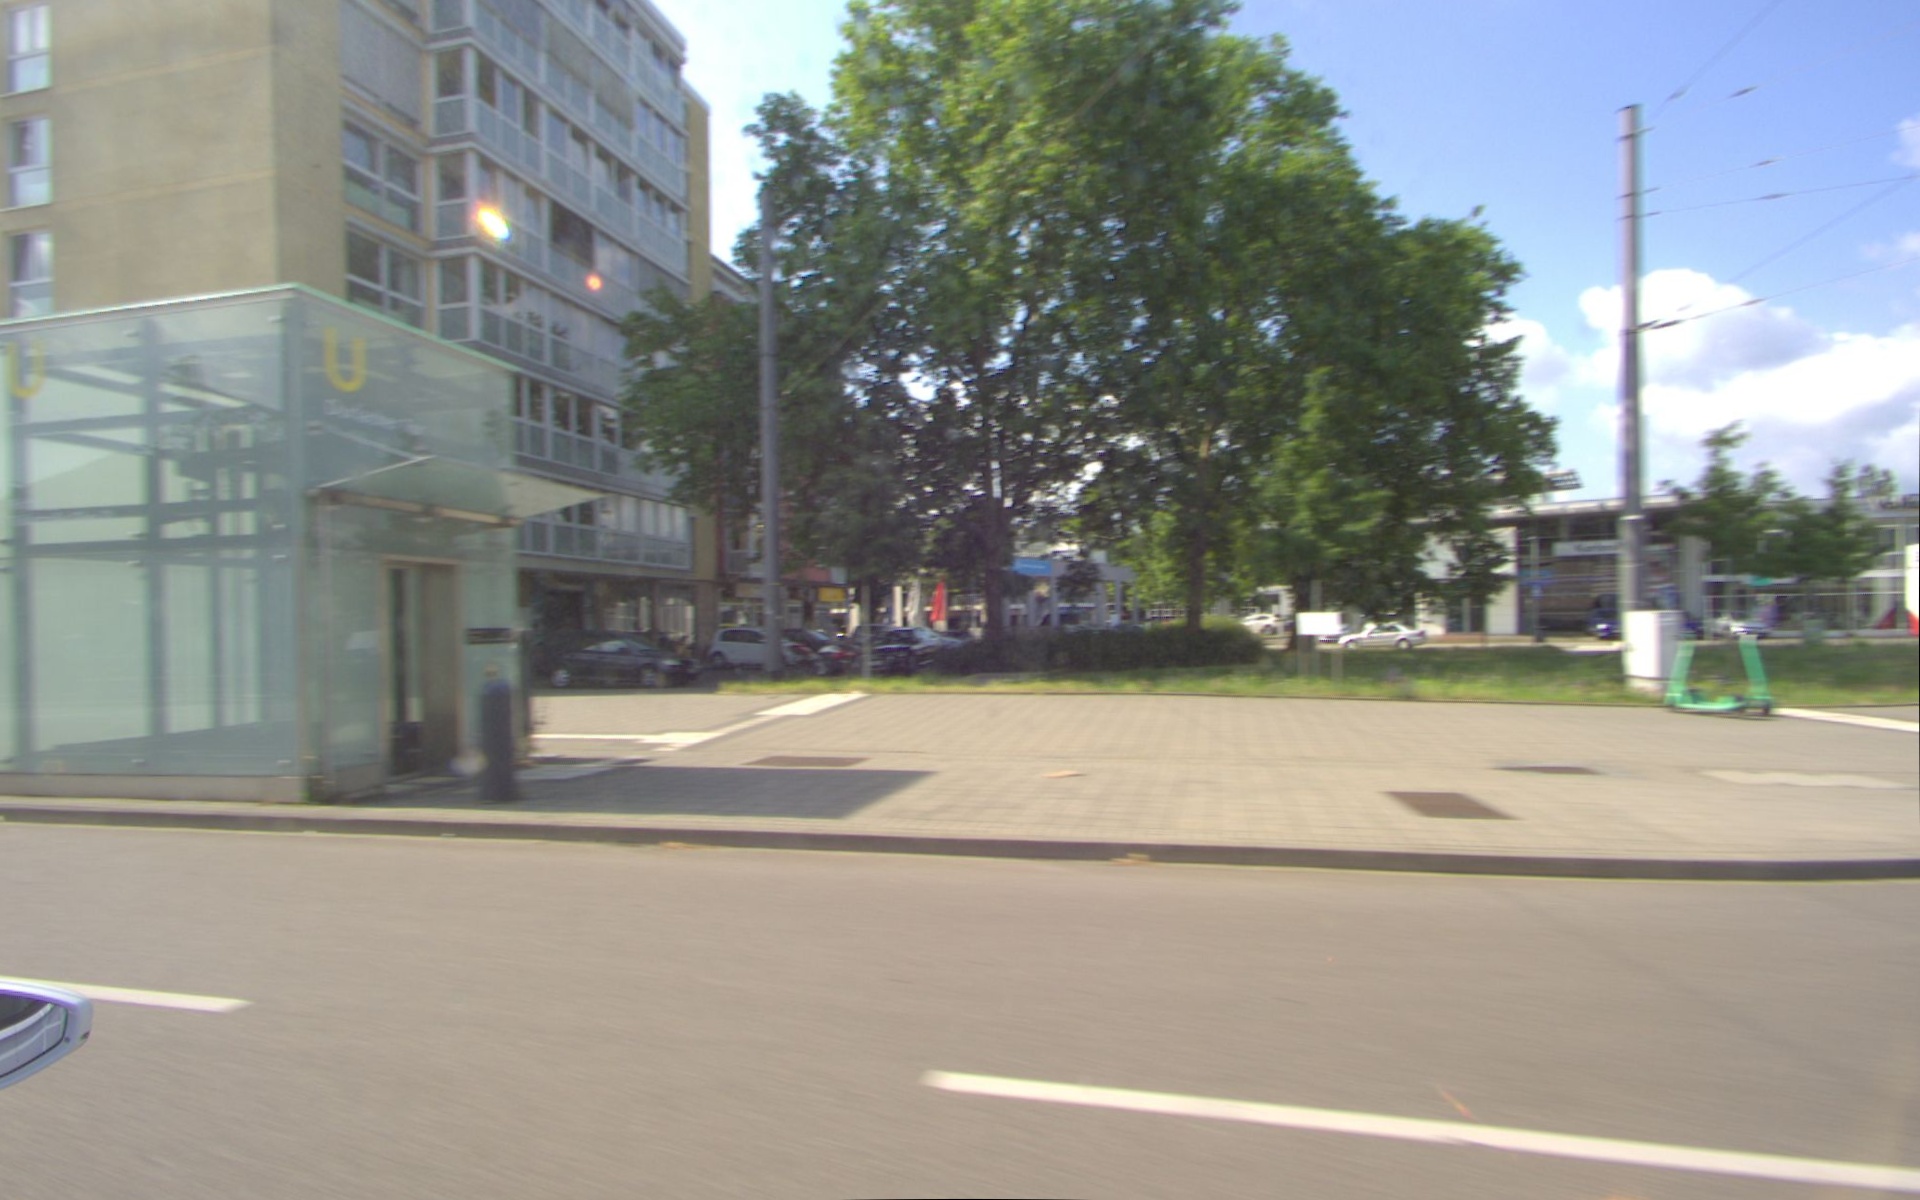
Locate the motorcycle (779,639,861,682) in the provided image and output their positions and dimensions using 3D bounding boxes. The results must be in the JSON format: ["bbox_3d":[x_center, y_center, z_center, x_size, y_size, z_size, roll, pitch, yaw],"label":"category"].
[{"bbox_3d":[-3.360,1.435,24.084,1.867,0.914,0.602,-2,0,-29],"label":"motorcycle"}]

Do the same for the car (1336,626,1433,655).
[{"bbox_3d":[22.979,2.189,54.229,4.491,1.371,1.988,-4,-2,35],"label":"car"}]

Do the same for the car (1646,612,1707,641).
[{"bbox_3d":[37.767,1.390,52.859,1.895,1.463,3.987,-1,-1,25],"label":"car"}]

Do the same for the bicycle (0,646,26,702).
[{"bbox_3d":[-22.452,1.678,23.178,1.616,1.218,0.486,1,2,19],"label":"bicycle"}]

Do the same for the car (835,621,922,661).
[{"bbox_3d":[-4.018,2.019,49.569,3.925,1.754,1.818,-3,-2,12],"label":"car"}]

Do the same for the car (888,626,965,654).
[{"bbox_3d":[-1.835,2.215,55.390,3.924,1.397,1.648,-3,-2,9],"label":"car"}]

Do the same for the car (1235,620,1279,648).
[{"bbox_3d":[19.571,2.191,65.784,2.042,1.625,3.984,-3,-1,27],"label":"car"}]

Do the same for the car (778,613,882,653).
[{"bbox_3d":[-5.498,1.393,42.428,3.926,1.482,1.870,-3,-2,12],"label":"car"}]

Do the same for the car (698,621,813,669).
[{"bbox_3d":[-7.375,1.619,36.224,3.509,1.549,1.999,-3,-2,14],"label":"car"}]

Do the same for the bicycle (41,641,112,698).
[{"bbox_3d":[-20.441,1.589,23.155,1.616,1.218,0.486,1,2,19],"label":"bicycle"}]

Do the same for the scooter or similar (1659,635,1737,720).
[{"bbox_3d":[10.660,1.106,14.471,0.912,1.173,0.381,0,2,-13],"label":"scooter or similar"}]

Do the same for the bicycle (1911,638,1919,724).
[{"bbox_3d":[13.669,1.108,12.847,1.954,1.143,0.789,2,1,12],"label":"bicycle"}]

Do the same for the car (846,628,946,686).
[{"bbox_3d":[-1.878,1.668,30.498,1.764,1.439,3.993,2,1,16],"label":"car"}]

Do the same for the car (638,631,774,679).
[{"bbox_3d":[-8.175,1.775,32.284,3.927,1.343,1.585,-3,-2,14],"label":"car"}]

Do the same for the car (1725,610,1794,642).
[{"bbox_3d":[41.571,1.343,52.166,1.895,1.572,3.987,-2,-1,25],"label":"car"}]

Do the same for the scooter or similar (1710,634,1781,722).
[{"bbox_3d":[10.949,1.073,13.962,0.915,1.173,0.380,0,2,-25],"label":"scooter or similar"}]

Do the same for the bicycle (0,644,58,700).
[{"bbox_3d":[-22.126,1.682,23.641,1.616,1.218,0.486,1,2,19],"label":"bicycle"}]

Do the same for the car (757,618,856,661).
[{"bbox_3d":[-6.158,1.573,40.191,3.509,1.549,1.695,-3,-2,14],"label":"car"}]

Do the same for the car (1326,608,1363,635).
[{"bbox_3d":[24.091,1.341,62.643,1.967,1.594,3.990,-3,-2,23],"label":"car"}]

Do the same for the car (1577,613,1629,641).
[{"bbox_3d":[34.983,1.443,54.559,1.895,1.463,3.987,-1,-1,25],"label":"car"}]

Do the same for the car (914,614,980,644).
[{"bbox_3d":[-0.776,1.748,60.245,3.556,1.614,1.664,-3,-2,18],"label":"car"}]

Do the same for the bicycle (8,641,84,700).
[{"bbox_3d":[-20.649,1.578,22.633,1.616,1.218,0.547,1,2,19],"label":"bicycle"}]

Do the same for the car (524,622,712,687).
[{"bbox_3d":[-9.021,1.438,26.521,4.310,1.605,1.999,-1,-1,13],"label":"car"}]
